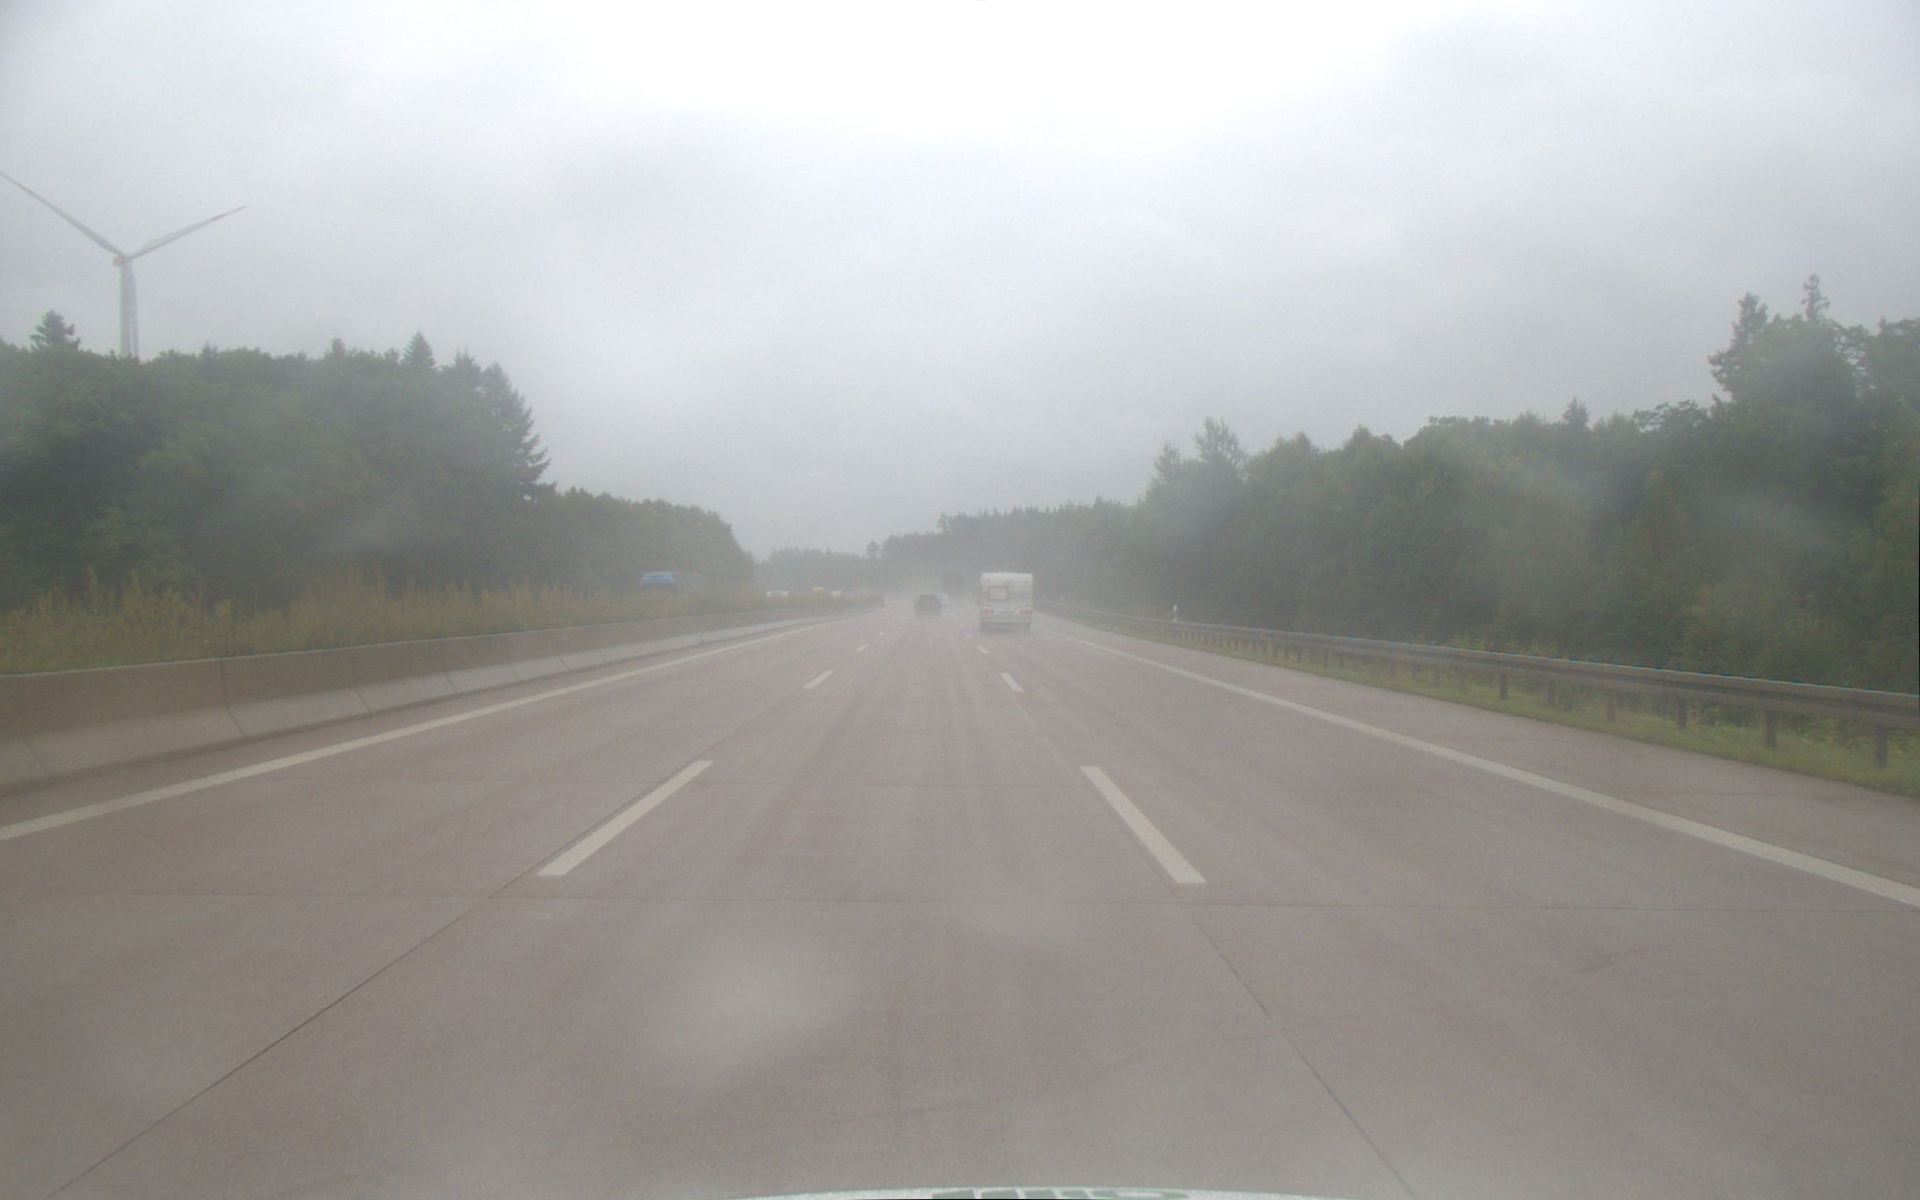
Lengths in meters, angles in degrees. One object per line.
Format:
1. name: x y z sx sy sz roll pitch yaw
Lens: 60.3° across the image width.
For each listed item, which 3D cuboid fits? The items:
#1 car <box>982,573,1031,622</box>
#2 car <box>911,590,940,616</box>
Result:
1. car: 2.011 -0.119 72.243 2.016 2.034 4.098 1 0 0
2. car: -2.347 0.204 114.189 1.897 1.760 4.130 1 0 0
